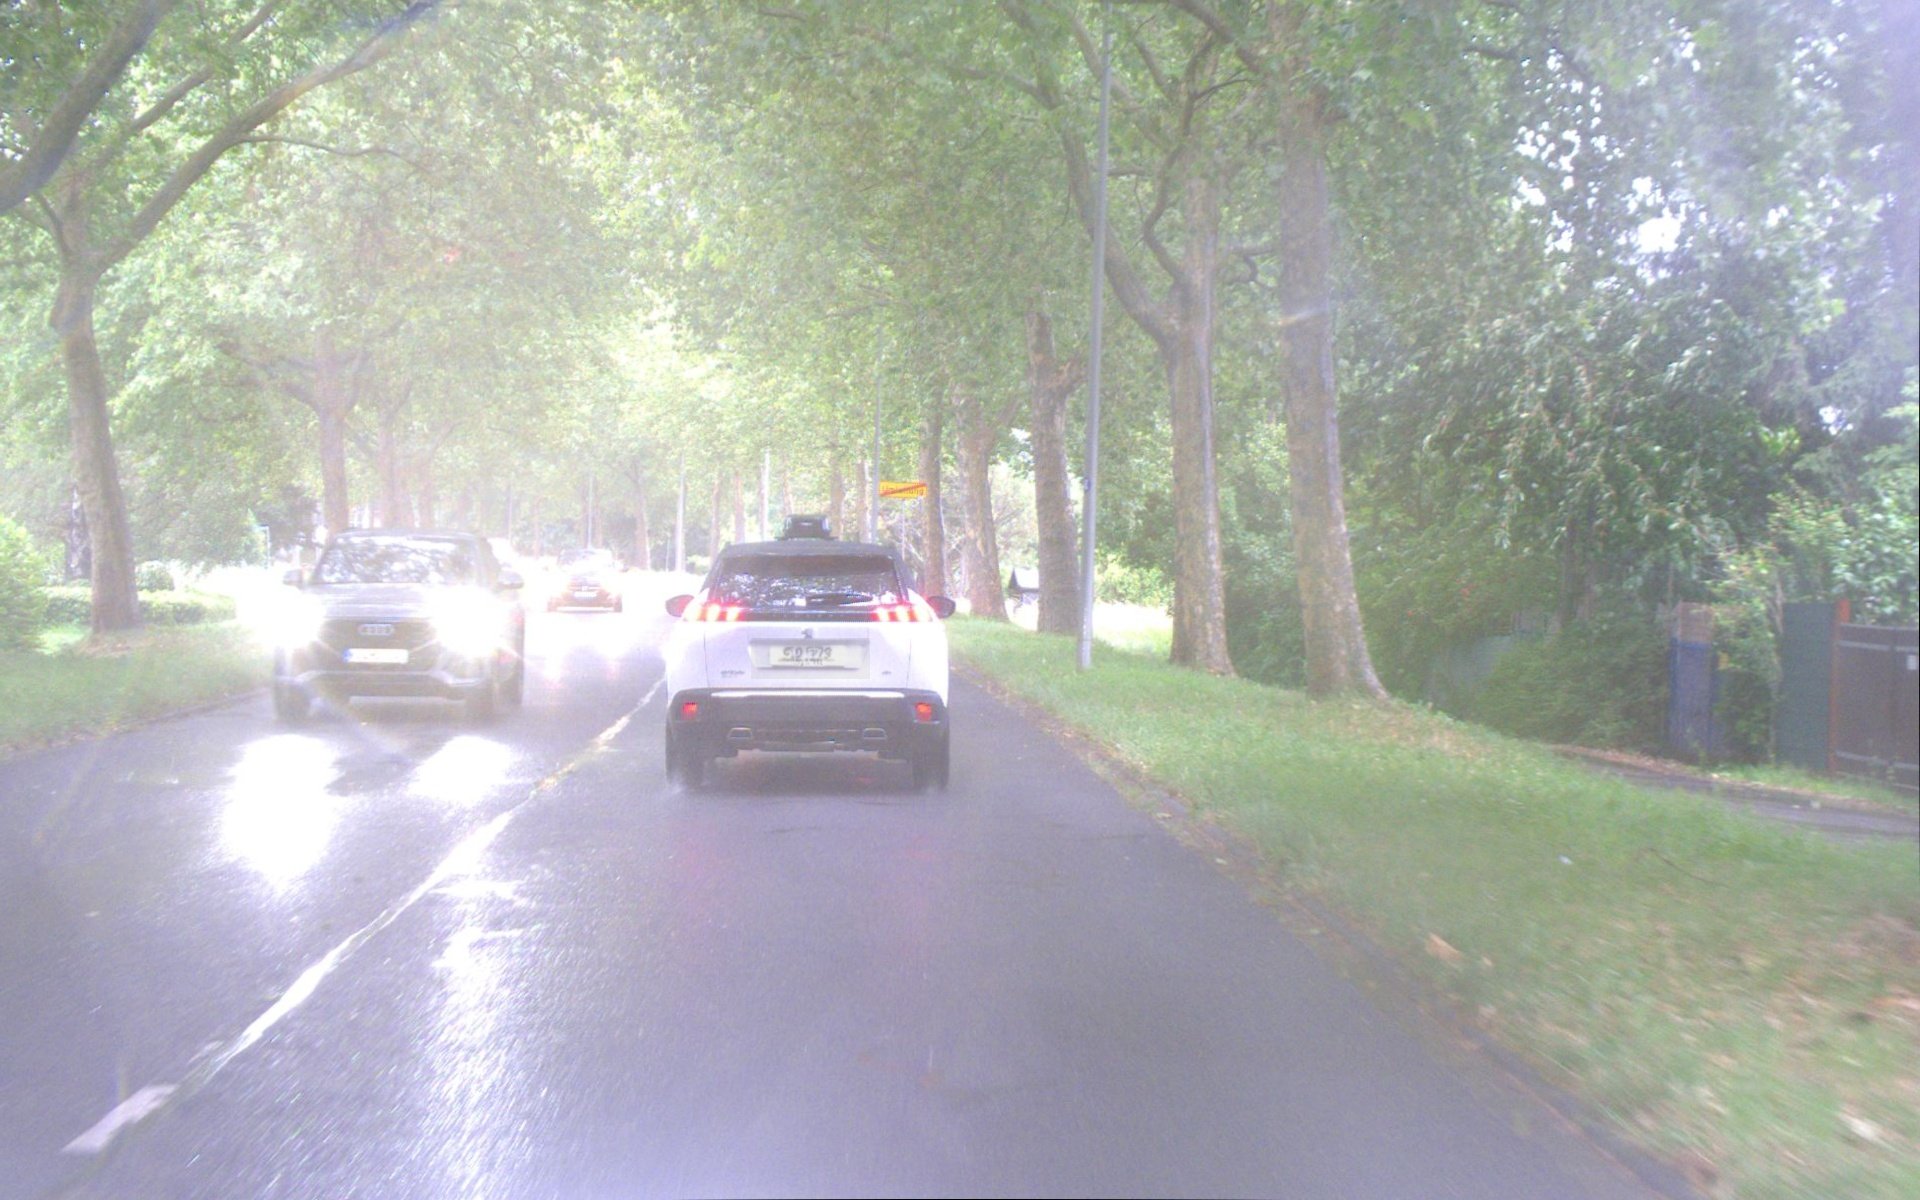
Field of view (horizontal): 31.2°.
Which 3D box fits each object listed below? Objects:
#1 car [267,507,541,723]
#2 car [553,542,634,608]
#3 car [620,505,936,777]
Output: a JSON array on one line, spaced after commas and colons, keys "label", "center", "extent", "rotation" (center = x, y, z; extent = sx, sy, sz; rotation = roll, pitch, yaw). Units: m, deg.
[{"label": "car", "center": [-4.862, 0.092, 30.601], "extent": [1.808, 1.722, 4.455], "rotation": [2, 1, -2]}, {"label": "car", "center": [-8.758, -0.620, 82.165], "extent": [1.845, 1.497, 4.001], "rotation": [2, 1, -6]}, {"label": "car", "center": [-1.106, 0.209, 22.515], "extent": [1.794, 1.573, 3.844], "rotation": [2, 1, 0]}]
